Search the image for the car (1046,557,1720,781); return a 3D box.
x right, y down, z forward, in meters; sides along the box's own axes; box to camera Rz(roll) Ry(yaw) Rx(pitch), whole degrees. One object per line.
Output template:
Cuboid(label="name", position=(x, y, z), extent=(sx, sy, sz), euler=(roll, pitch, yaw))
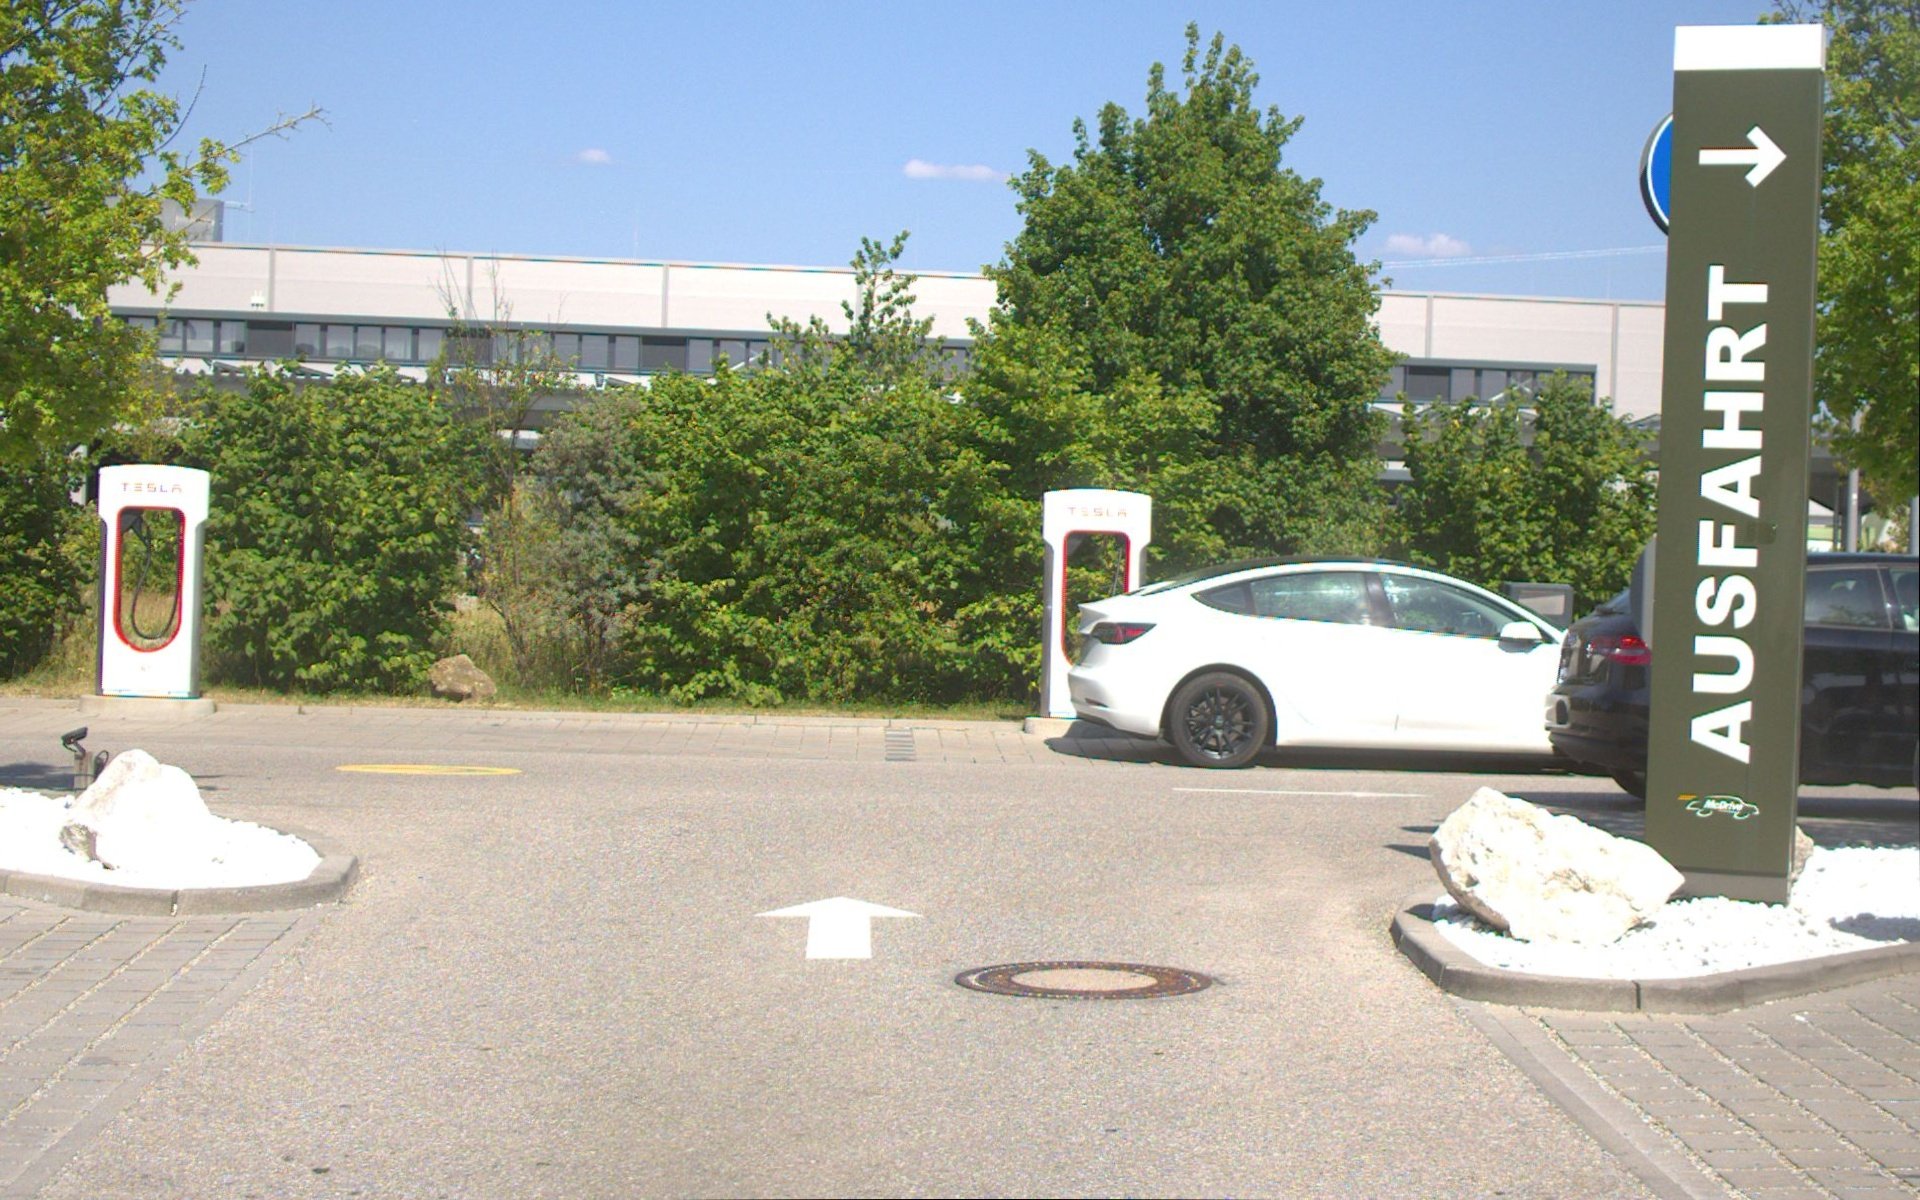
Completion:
Cuboid(label="car", position=(2.835, 0.449, 23.829), extent=(4.434, 1.373, 1.822), euler=(1, 1, 1))

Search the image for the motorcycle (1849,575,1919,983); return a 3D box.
Cuboid(label="motorcycle", position=(3.937, 0.554, 11.290), extent=(1.070, 1.246, 2.247), euler=(4, 4, 40))

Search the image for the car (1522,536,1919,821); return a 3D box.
Cuboid(label="car", position=(5.261, 0.441, 18.600), extent=(4.201, 1.436, 1.698), euler=(1, -1, 3))
